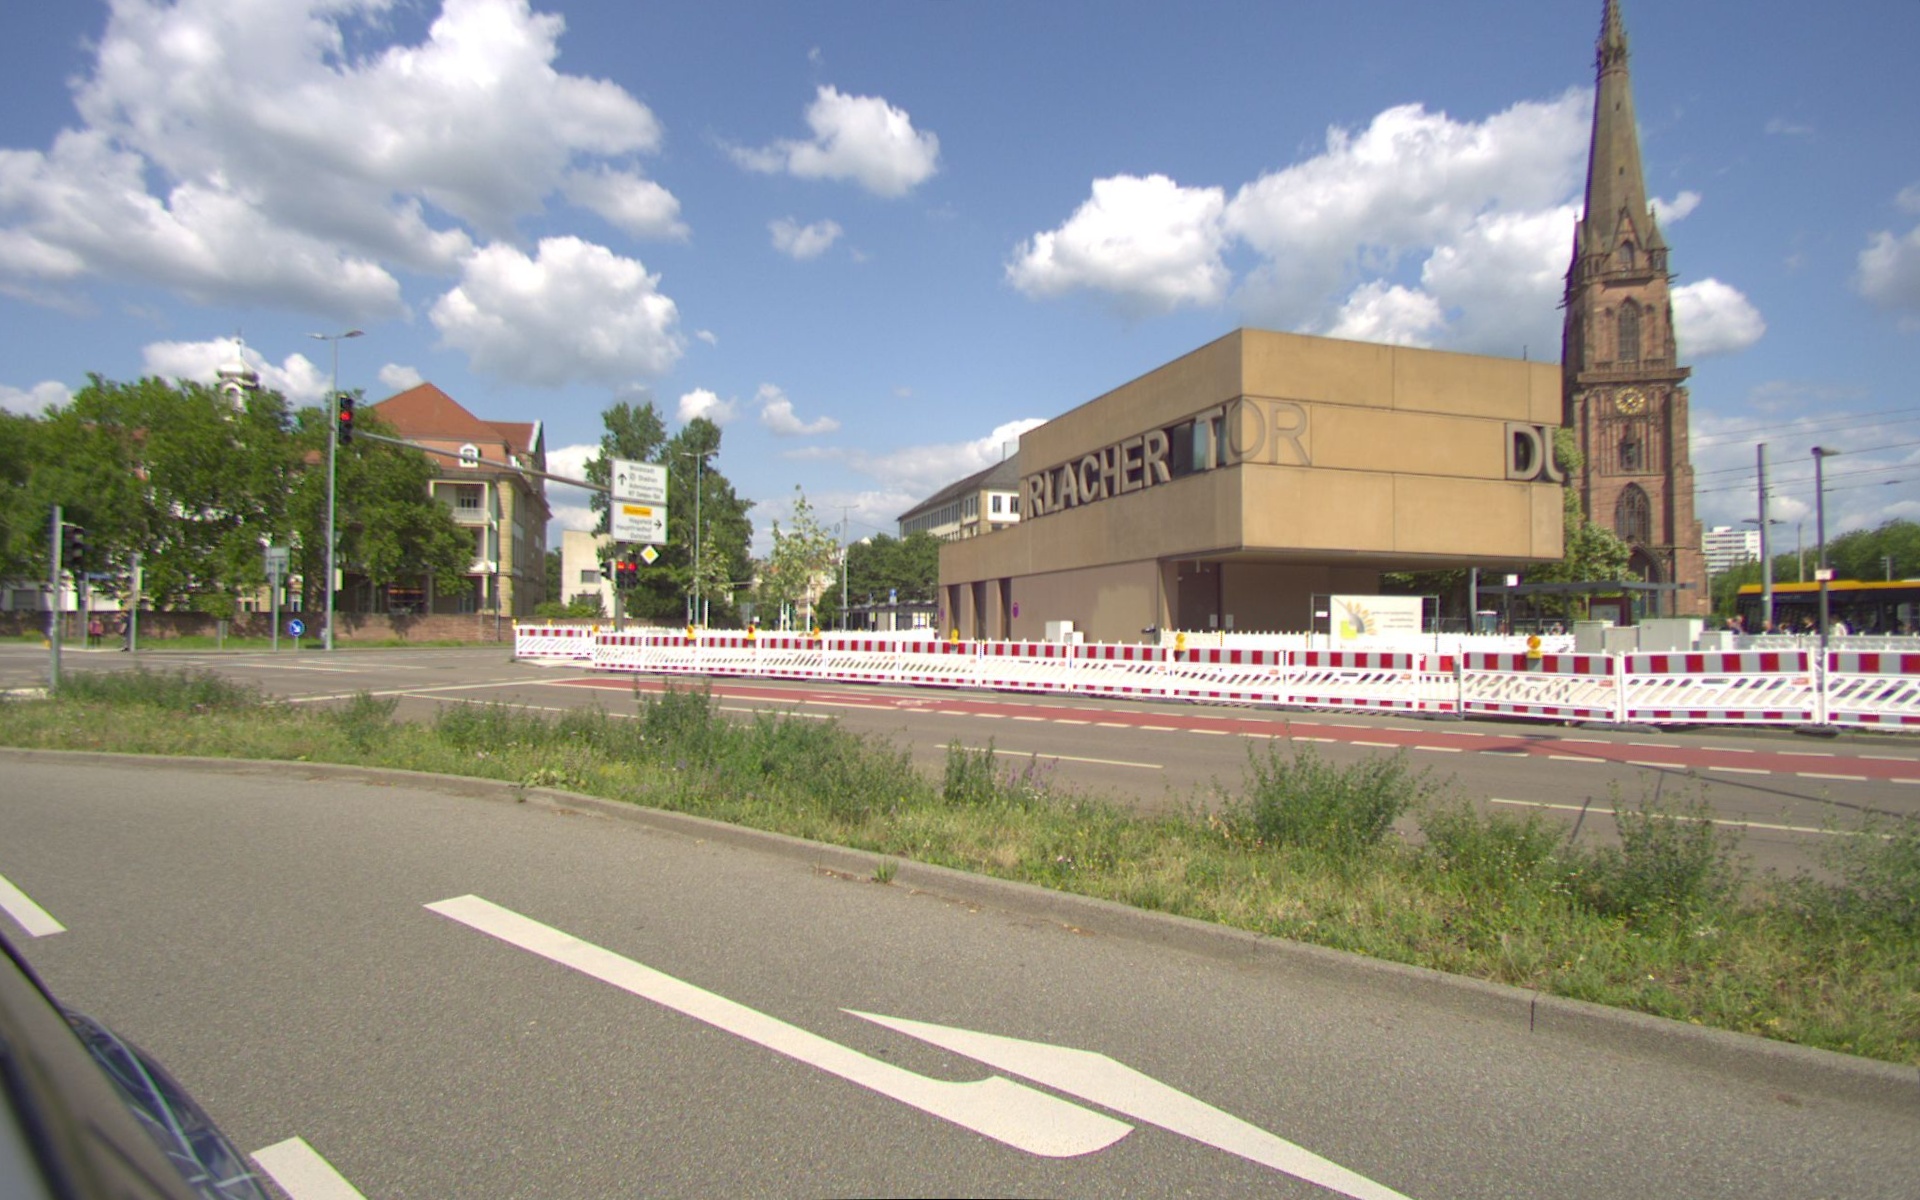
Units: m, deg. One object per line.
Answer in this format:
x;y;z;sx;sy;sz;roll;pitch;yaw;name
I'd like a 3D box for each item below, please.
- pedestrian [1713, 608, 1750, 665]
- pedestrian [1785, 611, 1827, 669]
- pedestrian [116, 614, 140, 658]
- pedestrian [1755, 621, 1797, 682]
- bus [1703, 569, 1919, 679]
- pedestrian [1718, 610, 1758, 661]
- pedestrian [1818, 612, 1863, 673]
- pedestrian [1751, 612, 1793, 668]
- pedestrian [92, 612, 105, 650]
22.369;1.059;29.346;0.720;1.642;0.561;1;-2;-27;pedestrian
24.337;1.148;29.116;0.752;1.644;0.655;1;-2;-25;pedestrian
-38.369;1.651;46.665;0.616;2.009;0.579;-1;0;13;pedestrian
22.315;1.393;27.682;0.763;1.644;0.646;-1;-2;30;pedestrian
29.187;0.694;29.319;2.785;3.160;12.881;1;-2;-20;bus
25.225;1.145;32.817;0.641;1.644;0.768;1;-2;-23;pedestrian
24.114;1.152;27.710;0.752;1.644;0.655;1;-2;-25;pedestrian
23.979;1.167;29.888;0.752;1.644;0.655;1;-2;-23;pedestrian
-40.096;1.438;47.105;0.450;1.745;0.365;-1;0;36;pedestrian
